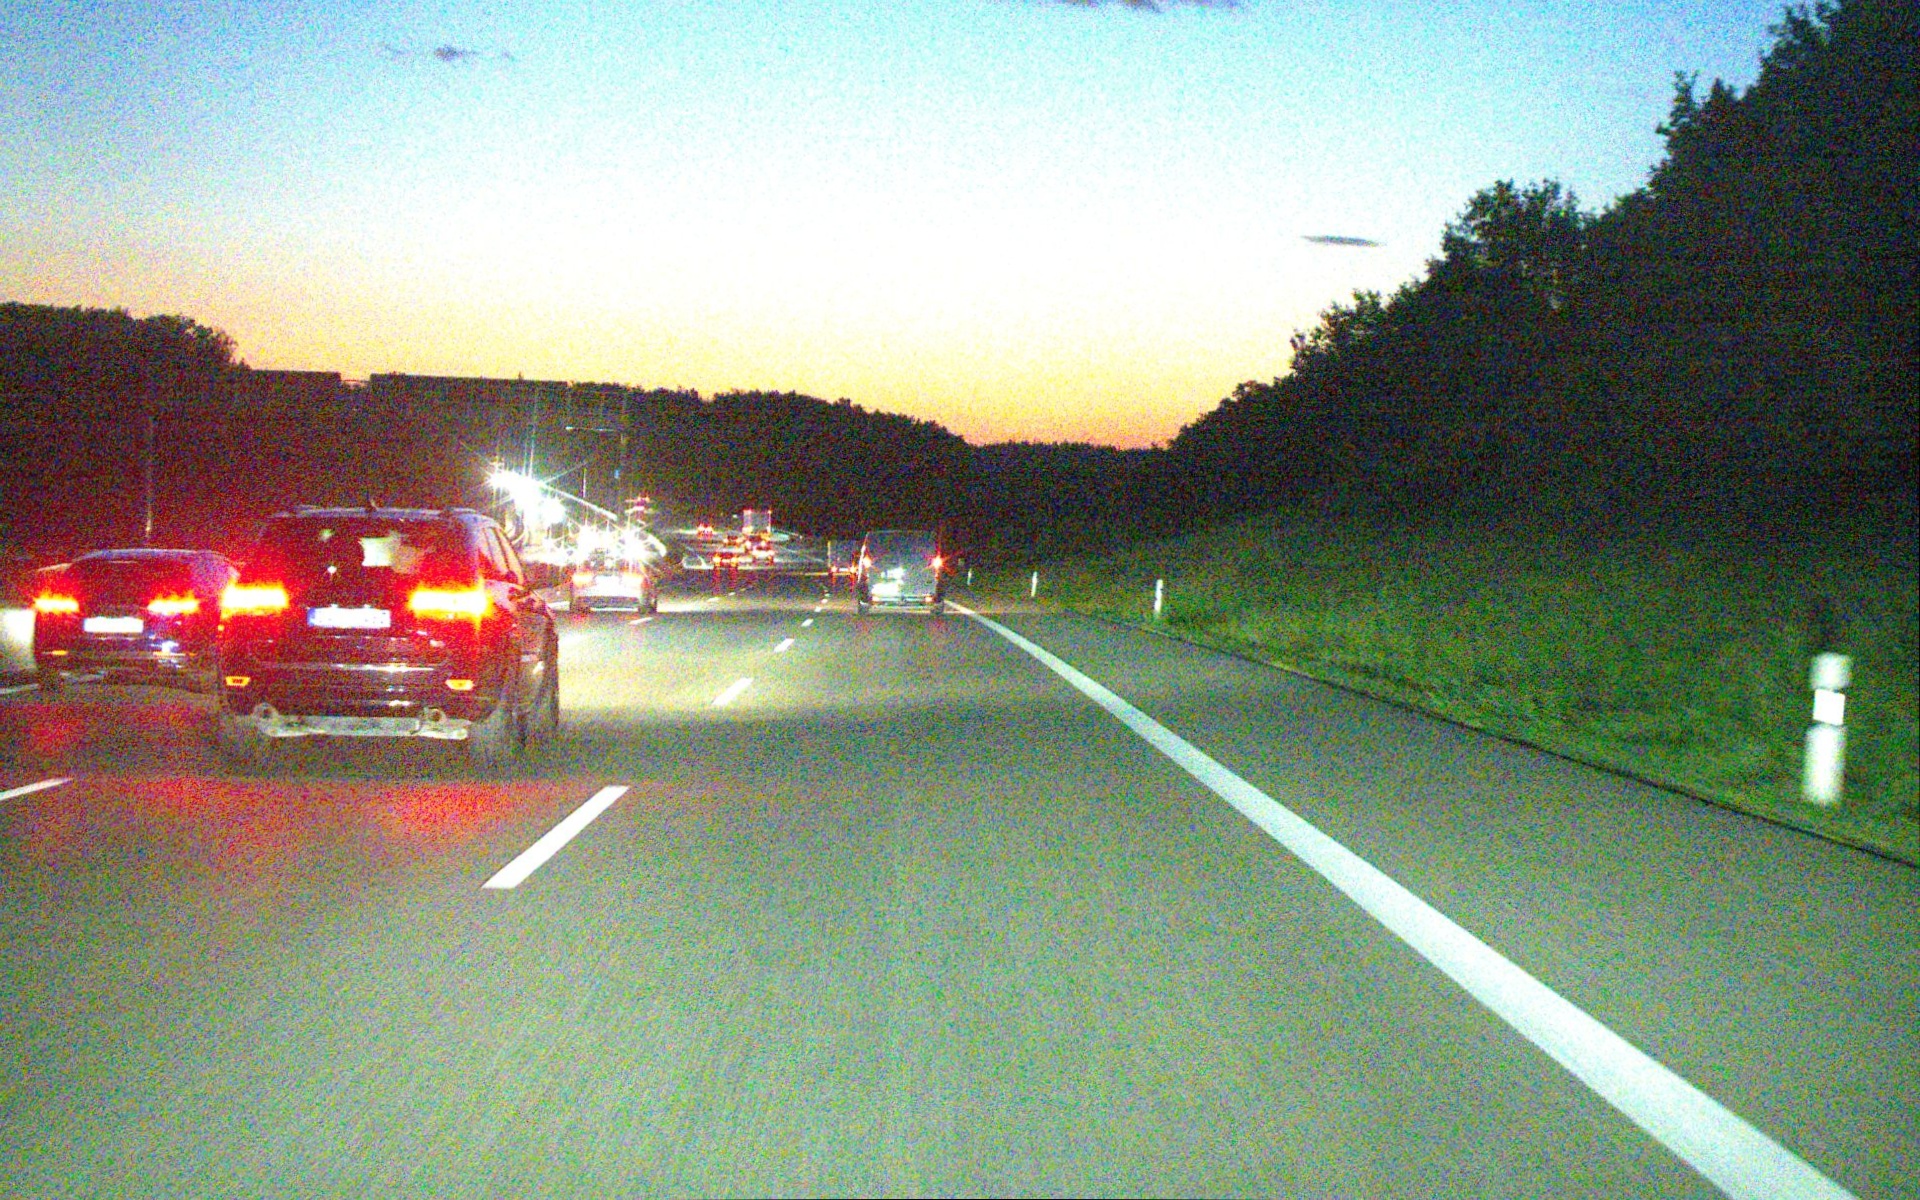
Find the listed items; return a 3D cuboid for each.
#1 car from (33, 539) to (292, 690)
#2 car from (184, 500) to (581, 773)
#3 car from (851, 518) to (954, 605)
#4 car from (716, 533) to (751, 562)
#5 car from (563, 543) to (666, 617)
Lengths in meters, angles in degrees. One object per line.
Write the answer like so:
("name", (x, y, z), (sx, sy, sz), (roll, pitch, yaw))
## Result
("car", (-8.055, 0.106, 35.182), (1.549, 1.426, 5.515), (0, 1, -2))
("car", (-3.969, 0.196, 24.654), (1.993, 1.715, 5.943), (0, 1, -2))
("car", (-1.318, -0.945, 80.770), (2.197, 1.948, 4.763), (0, 2, 2))
("car", (-16.726, -3.900, 253.956), (2.196, 1.948, 4.634), (3, 2, 0))
("car", (-8.057, -0.496, 80.516), (1.779, 1.481, 5.254), (3, 2, 0))
